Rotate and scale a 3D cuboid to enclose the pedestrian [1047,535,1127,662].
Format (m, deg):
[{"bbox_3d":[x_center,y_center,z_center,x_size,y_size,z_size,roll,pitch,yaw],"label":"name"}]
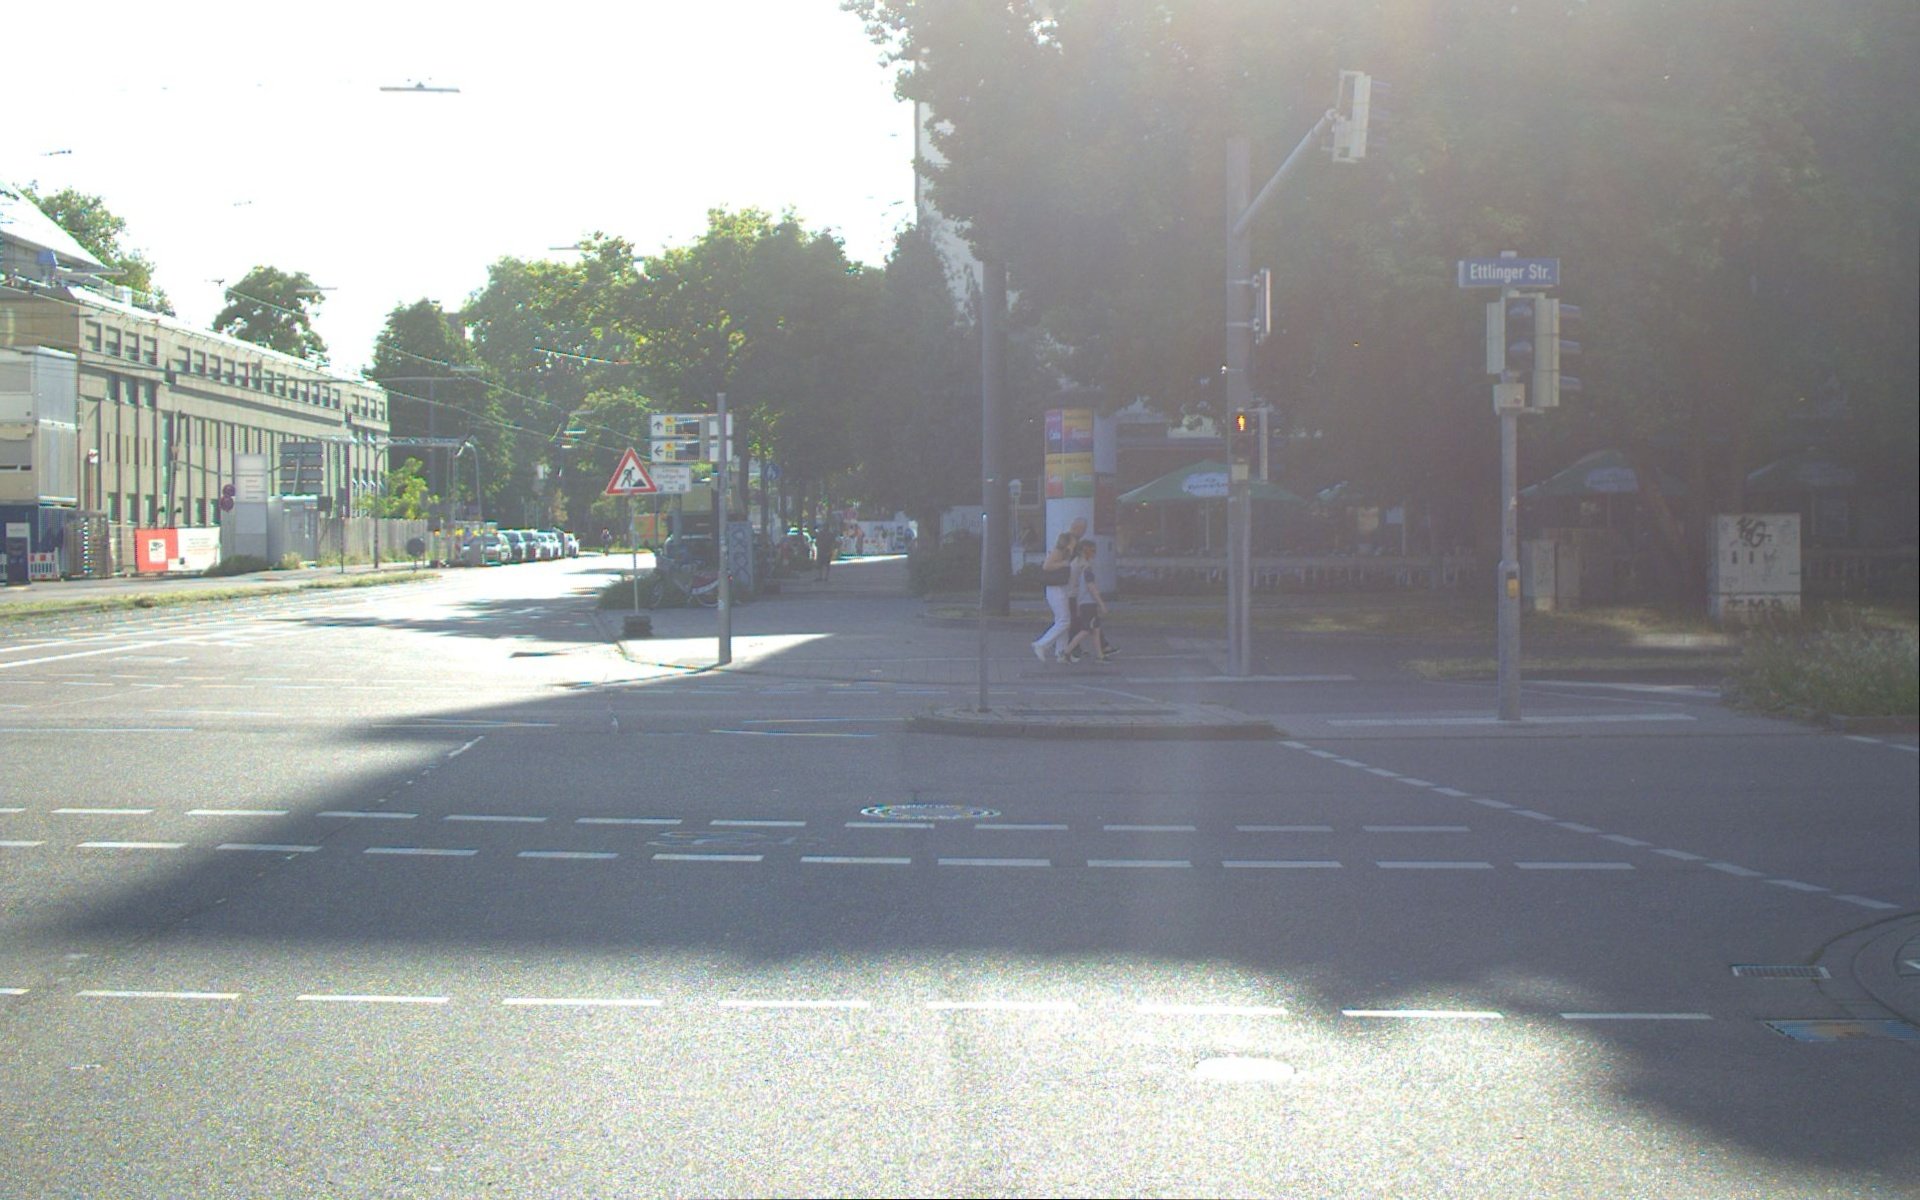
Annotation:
[{"bbox_3d":[1.595,-0.024,43.327,0.984,1.582,0.660,0,0,1],"label":"pedestrian"}]

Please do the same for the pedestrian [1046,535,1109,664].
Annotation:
[{"bbox_3d":[1.511,-0.010,44.106,0.795,1.634,0.533,0,1,2],"label":"pedestrian"}]

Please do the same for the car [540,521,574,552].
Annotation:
[{"bbox_3d":[-22.836,-3.590,194.757,1.483,1.744,4.000,-1,1,-1],"label":"car"}]

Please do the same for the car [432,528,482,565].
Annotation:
[{"bbox_3d":[-22.824,-2.435,156.099,1.731,1.647,4.000,0,1,-1],"label":"car"}]

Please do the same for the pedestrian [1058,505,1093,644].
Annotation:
[{"bbox_3d":[1.501,-0.333,44.604,0.361,1.798,0.506,0,1,11],"label":"pedestrian"}]

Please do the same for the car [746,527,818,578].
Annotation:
[{"bbox_3d":[-4.608,-1.246,89.354,1.819,1.274,4.001,0,1,-3],"label":"car"}]

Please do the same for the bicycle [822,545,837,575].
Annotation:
[{"bbox_3d":[-3.743,-1.147,98.510,0.324,0.865,1.483,-1,1,-5],"label":"bicycle"}]

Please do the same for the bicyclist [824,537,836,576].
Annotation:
[{"bbox_3d":[-3.718,-1.247,98.464,0.318,1.123,0.291,0,1,2],"label":"bicyclist"}]

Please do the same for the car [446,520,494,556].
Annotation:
[{"bbox_3d":[-22.822,-2.911,160.181,1.731,1.647,4.000,0,1,-1],"label":"car"}]

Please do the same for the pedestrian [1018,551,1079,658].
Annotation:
[{"bbox_3d":[1.114,0.053,43.602,0.752,1.328,0.742,0,1,1],"label":"pedestrian"}]

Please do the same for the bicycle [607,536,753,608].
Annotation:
[{"bbox_3d":[-5.468,-0.554,67.143,2.748,1.363,0.630,1,0,11],"label":"bicycle"}]
